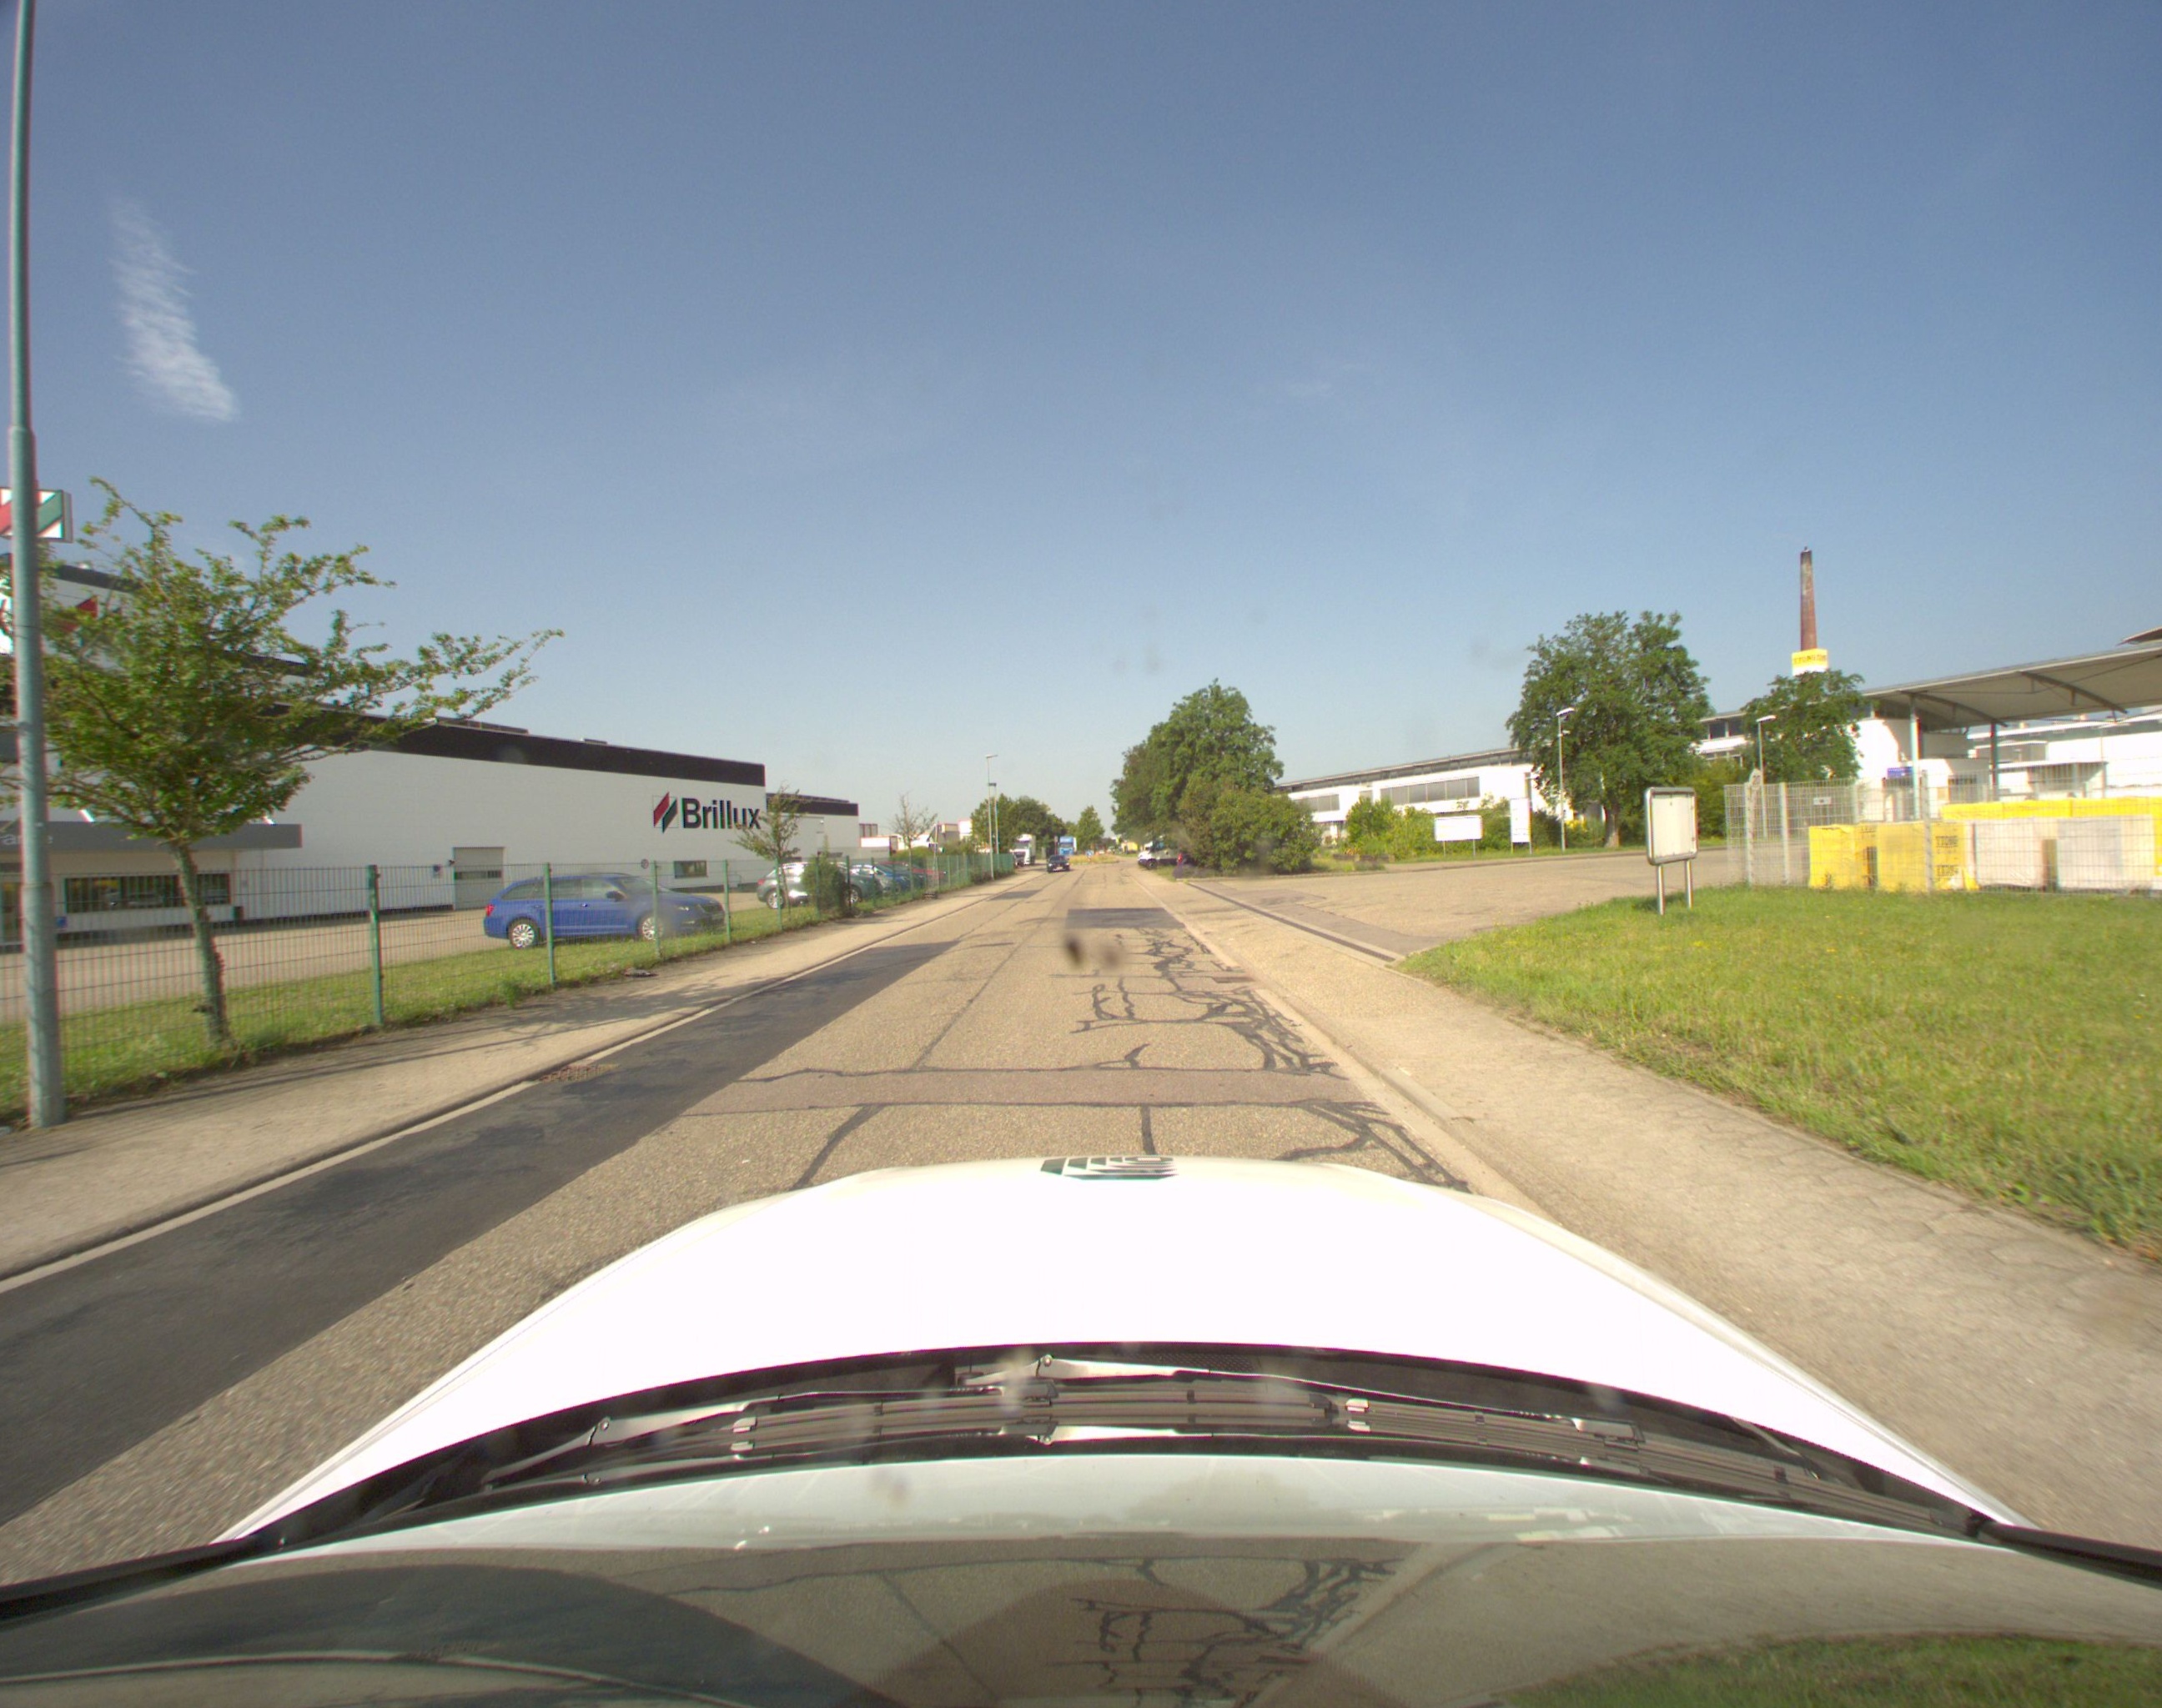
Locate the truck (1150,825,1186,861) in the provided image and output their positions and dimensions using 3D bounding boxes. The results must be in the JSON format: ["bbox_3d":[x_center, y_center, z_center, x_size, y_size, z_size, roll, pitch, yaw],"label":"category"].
[{"bbox_3d":[9.485,-1.093,89.884,2.877,3.535,9.760,-6,-1,2],"label":"truck"}]

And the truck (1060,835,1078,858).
[{"bbox_3d":[-2.089,-1.203,144.845,2.815,3.826,9.674,-1,-1,1],"label":"truck"}]

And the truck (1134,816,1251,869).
[{"bbox_3d":[8.186,-0.805,60.568,8.182,3.370,2.741,-3,-1,0],"label":"truck"}]

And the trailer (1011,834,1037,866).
[{"bbox_3d":[-7.251,-0.445,104.793,2.690,3.922,7.575,-1,-1,1],"label":"trailer"}]

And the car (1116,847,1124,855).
[{"bbox_3d":[8.851,-0.585,185.238,1.786,1.750,4.000,-1,-1,1],"label":"car"}]

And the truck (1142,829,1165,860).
[{"bbox_3d":[10.084,-1.343,113.834,2.736,3.981,4.002,-5,0,1],"label":"truck"}]

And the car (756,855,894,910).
[{"bbox_3d":[-8.927,0.979,28.632,4.113,1.567,1.865,-4,0,0],"label":"car"}]

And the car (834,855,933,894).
[{"bbox_3d":[-9.133,0.941,37.941,4.027,1.444,1.874,-4,0,0],"label":"car"}]

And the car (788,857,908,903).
[{"bbox_3d":[-9.054,1.000,31.893,4.027,1.444,1.874,-4,0,0],"label":"car"}]

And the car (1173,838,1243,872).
[{"bbox_3d":[7.729,0.057,49.926,3.971,1.838,2.001,-3,0,2],"label":"car"}]

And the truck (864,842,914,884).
[{"bbox_3d":[-19.510,0.904,83.153,2.493,4.071,5.567,-1,-1,16],"label":"truck"}]

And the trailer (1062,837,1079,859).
[{"bbox_3d":[-1.869,-1.011,154.486,2.821,3.843,12.038,-1,-1,1],"label":"trailer"}]

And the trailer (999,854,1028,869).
[{"bbox_3d":[-7.768,0.840,93.837,2.670,1.453,5.080,-2,0,3],"label":"trailer"}]

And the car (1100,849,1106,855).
[{"bbox_3d":[6.719,-0.585,250.897,1.713,1.661,3.822,-1,-1,0],"label":"car"}]

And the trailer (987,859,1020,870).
[{"bbox_3d":[-7.660,1.055,80.933,2.538,0.925,6.710,1,0,0],"label":"trailer"}]

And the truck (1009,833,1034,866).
[{"bbox_3d":[-7.325,-0.510,100.434,2.699,3.922,4.297,-1,-1,1],"label":"truck"}]

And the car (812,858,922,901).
[{"bbox_3d":[-8.923,1.048,34.202,4.027,1.444,1.874,-4,0,0],"label":"car"}]

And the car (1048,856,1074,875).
[{"bbox_3d":[-1.689,0.943,69.341,1.987,1.449,4.419,-5,0,0],"label":"car"}]

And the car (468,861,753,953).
[{"bbox_3d":[-9.707,1.056,17.131,4.670,1.444,2.078,-4,0,0],"label":"car"}]

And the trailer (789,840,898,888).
[{"bbox_3d":[-21.726,0.930,76.003,2.462,4.041,13.950,-1,-1,17],"label":"trailer"}]
